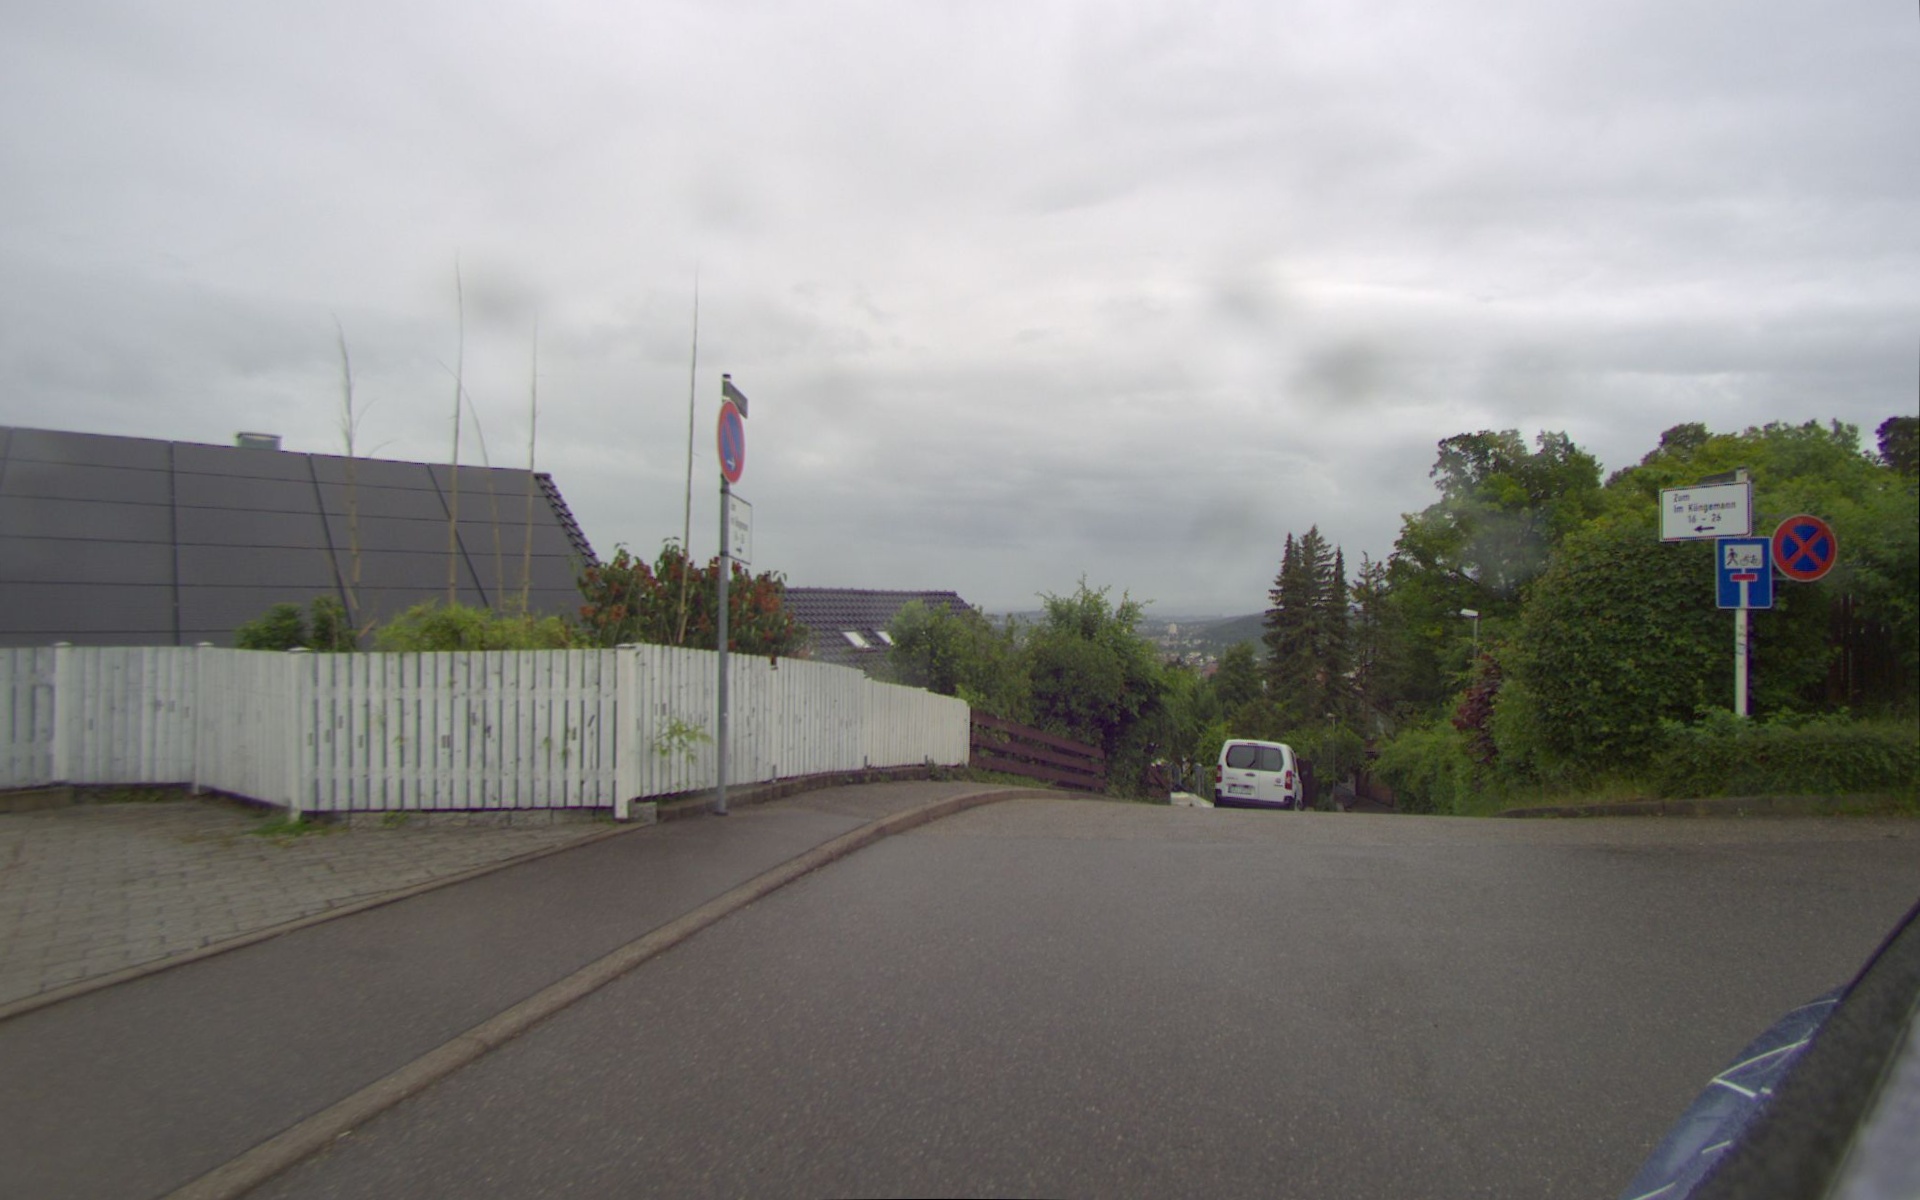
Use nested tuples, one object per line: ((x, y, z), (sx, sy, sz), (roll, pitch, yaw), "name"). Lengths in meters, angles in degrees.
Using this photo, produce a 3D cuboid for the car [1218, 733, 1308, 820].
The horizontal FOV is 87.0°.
((7.287, 4.267, 24.107), (1.734, 1.765, 3.967), (0, -12, 22), "car")
